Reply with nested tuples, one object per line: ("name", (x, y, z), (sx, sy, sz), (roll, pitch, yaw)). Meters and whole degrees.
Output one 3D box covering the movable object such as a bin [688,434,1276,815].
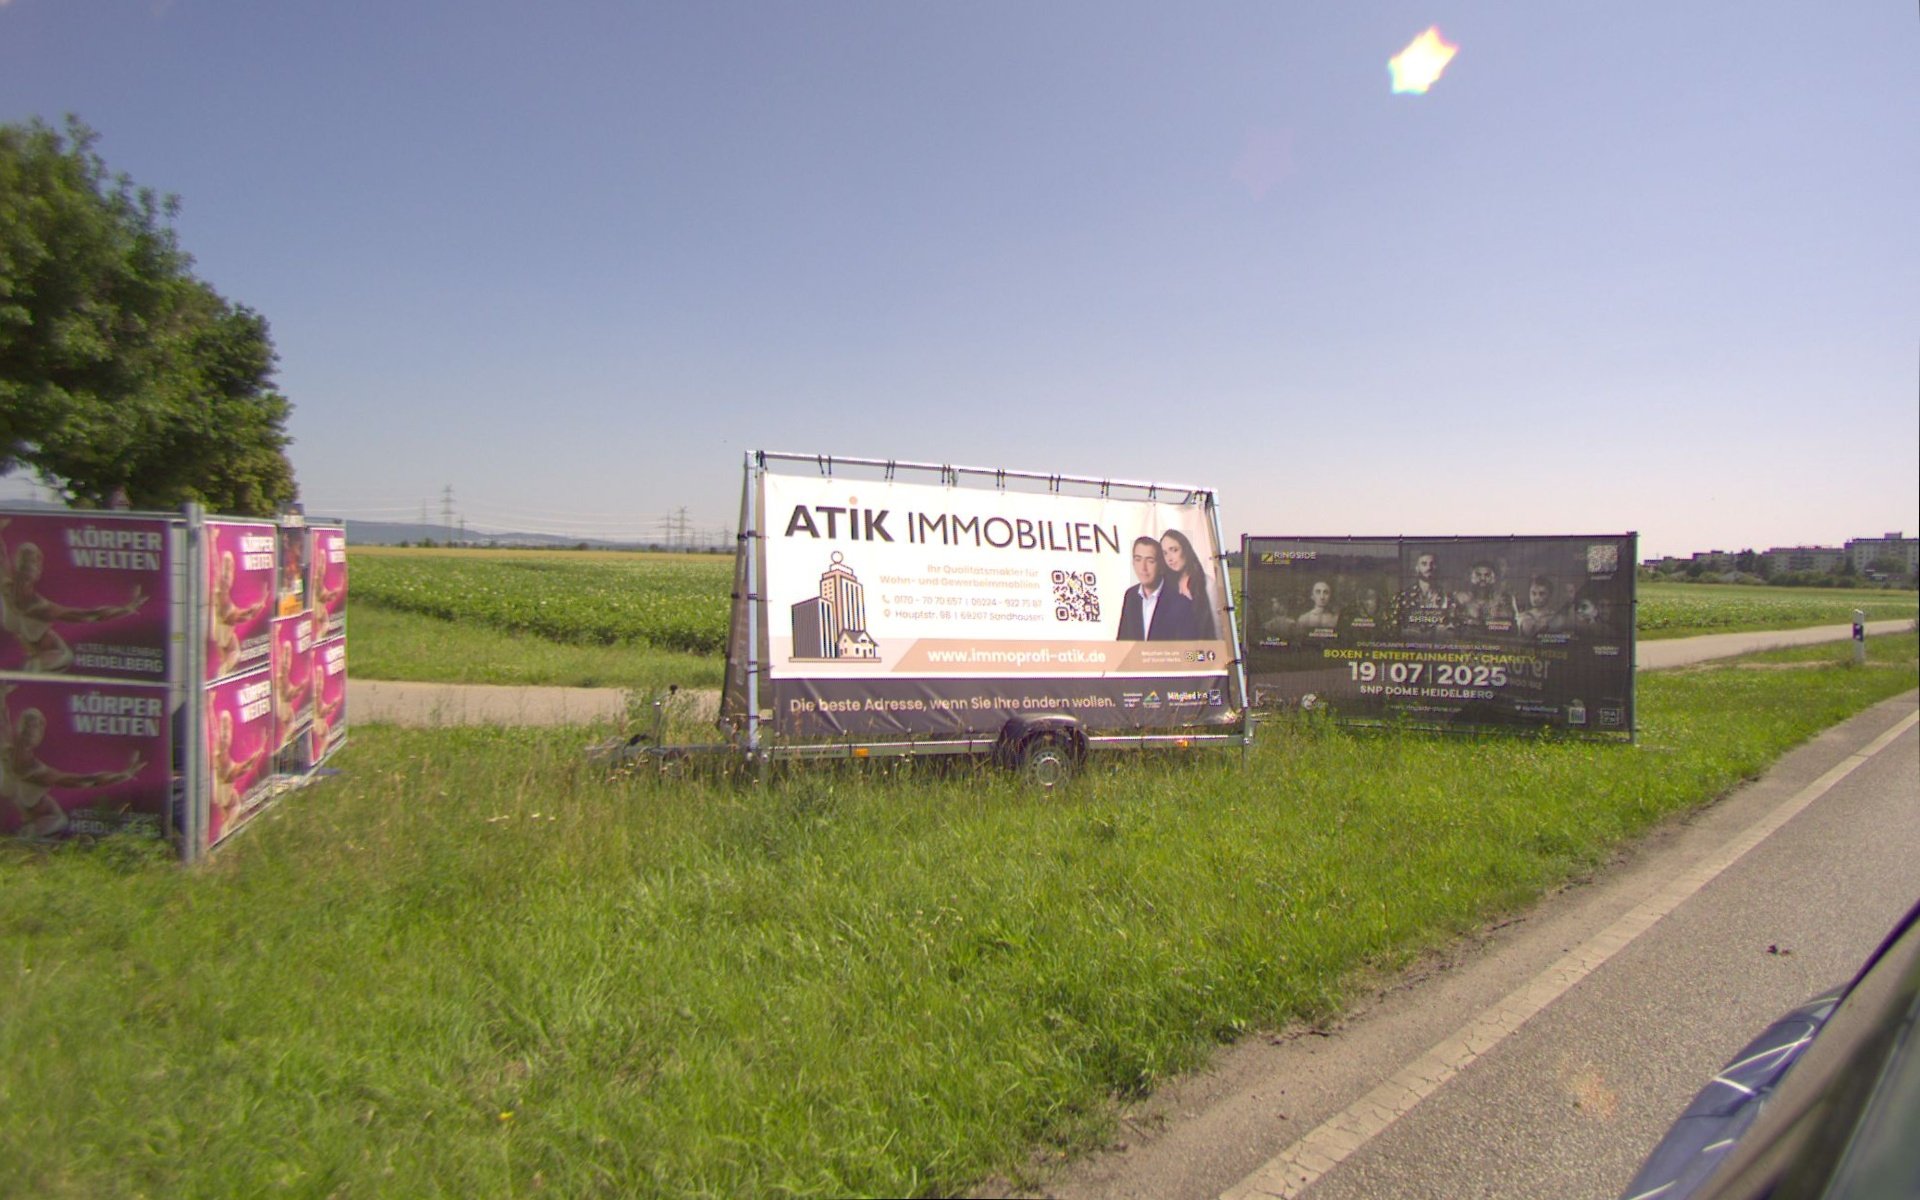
("movable object such as a bin", (0.211, 0.109, 7.894), (4.332, 2.392, 1.530), (-1, 1, -22))
